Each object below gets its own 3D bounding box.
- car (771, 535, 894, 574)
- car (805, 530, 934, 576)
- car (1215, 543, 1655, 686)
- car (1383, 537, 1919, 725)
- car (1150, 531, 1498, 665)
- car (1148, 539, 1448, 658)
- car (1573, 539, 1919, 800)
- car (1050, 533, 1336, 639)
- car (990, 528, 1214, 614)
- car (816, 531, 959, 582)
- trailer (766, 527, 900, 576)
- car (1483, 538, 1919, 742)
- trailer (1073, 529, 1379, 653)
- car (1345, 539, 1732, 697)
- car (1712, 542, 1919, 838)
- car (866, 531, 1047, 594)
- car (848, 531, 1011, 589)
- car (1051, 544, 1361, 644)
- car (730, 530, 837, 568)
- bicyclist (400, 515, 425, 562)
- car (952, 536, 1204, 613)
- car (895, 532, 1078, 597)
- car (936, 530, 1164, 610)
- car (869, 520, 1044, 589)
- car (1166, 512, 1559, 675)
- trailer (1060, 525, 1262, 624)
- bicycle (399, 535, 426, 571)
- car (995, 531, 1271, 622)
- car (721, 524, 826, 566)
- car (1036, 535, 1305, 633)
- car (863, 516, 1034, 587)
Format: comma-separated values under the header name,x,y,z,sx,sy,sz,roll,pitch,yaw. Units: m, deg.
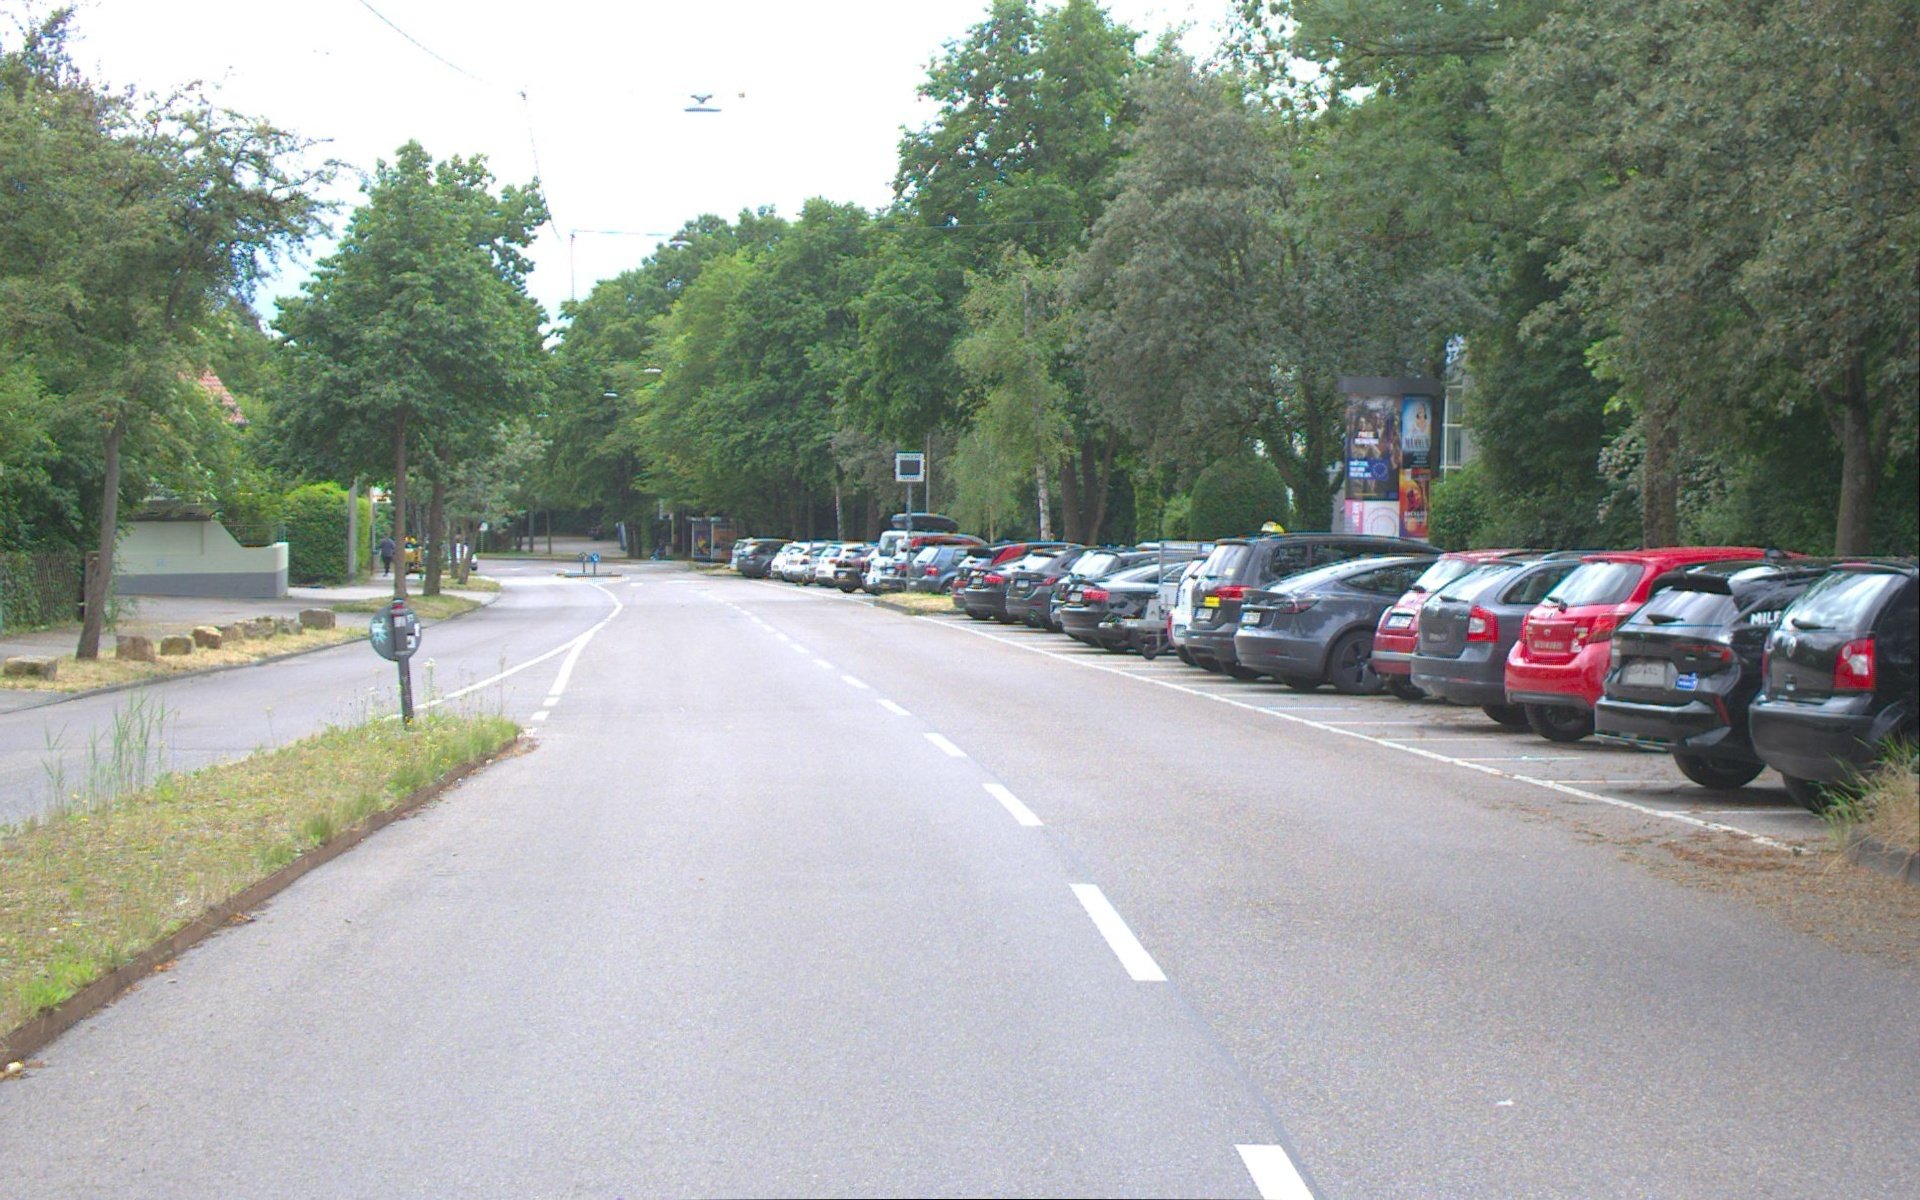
name,x,y,z,sx,sy,sz,roll,pitch,yaw
car,-4.431,-1.577,119.290,3.884,1.305,1.744,0,1,-29
car,-3.009,-1.568,114.593,3.884,1.444,1.744,1,1,-26
car,4.908,0.145,35.638,4.158,1.402,1.698,1,1,-16
car,5.820,0.249,28.680,4.218,1.459,1.635,1,1,-13
car,4.327,-0.030,41.090,3.819,1.524,1.606,1,1,-9
car,4.267,-0.024,43.553,3.423,1.440,1.560,1,1,-17
car,5.958,0.410,20.748,4.134,1.471,1.577,1,1,-15
car,3.469,-0.210,51.216,3.910,1.481,1.618,1,1,-20
car,2.529,-0.525,61.283,3.609,1.440,1.634,1,1,-20
car,-2.175,-1.311,103.394,3.884,1.444,1.844,0,1,-28
trailer,-4.306,-1.638,116.666,4.153,1.568,1.712,1,1,-24
car,5.958,0.298,26.195,3.522,1.471,1.593,1,1,-17
trailer,3.532,-0.131,45.848,3.687,1.530,1.646,1,1,-16
car,5.642,0.166,33.652,3.325,1.459,1.635,1,1,-14
car,6.124,0.477,18.475,3.715,1.471,1.577,1,2,-7
car,-0.093,-0.918,84.189,4.026,1.400,1.757,1,1,-23
car,-0.831,-1.086,93.215,3.965,1.444,1.919,1,1,-20
car,3.449,-0.087,48.346,4.035,1.323,1.560,1,0,-14
car,-7.056,-2.041,137.558,3.883,1.424,1.744,1,1,-24
bicyclist,-20.121,-2.255,126.317,0.844,1.691,0.714,1,2,-7
car,2.187,-0.482,63.835,4.311,1.336,1.734,1,1,-18
car,0.622,-0.849,81.758,3.963,1.400,1.757,1,1,-20
car,1.758,-0.590,66.653,4.071,1.510,1.734,0,1,-27
car,-0.097,-1.148,87.108,3.995,1.614,1.885,1,1,-21
car,4.467,-0.069,38.301,3.984,1.719,1.681,1,1,-14
trailer,3.282,-0.419,56.254,2.985,1.537,1.304,1,2,-18
bicycle,-20.126,-1.723,126.332,0.844,1.262,2.653,1,2,-7
car,2.936,-0.404,58.418,4.343,1.440,1.635,1,1,-19
car,-7.610,-2.244,140.306,3.883,1.662,1.744,1,1,-24
car,3.283,-0.255,53.781,3.839,1.450,1.634,1,1,-17
car,-0.300,-1.267,89.972,4.086,1.748,1.787,1,1,-31
